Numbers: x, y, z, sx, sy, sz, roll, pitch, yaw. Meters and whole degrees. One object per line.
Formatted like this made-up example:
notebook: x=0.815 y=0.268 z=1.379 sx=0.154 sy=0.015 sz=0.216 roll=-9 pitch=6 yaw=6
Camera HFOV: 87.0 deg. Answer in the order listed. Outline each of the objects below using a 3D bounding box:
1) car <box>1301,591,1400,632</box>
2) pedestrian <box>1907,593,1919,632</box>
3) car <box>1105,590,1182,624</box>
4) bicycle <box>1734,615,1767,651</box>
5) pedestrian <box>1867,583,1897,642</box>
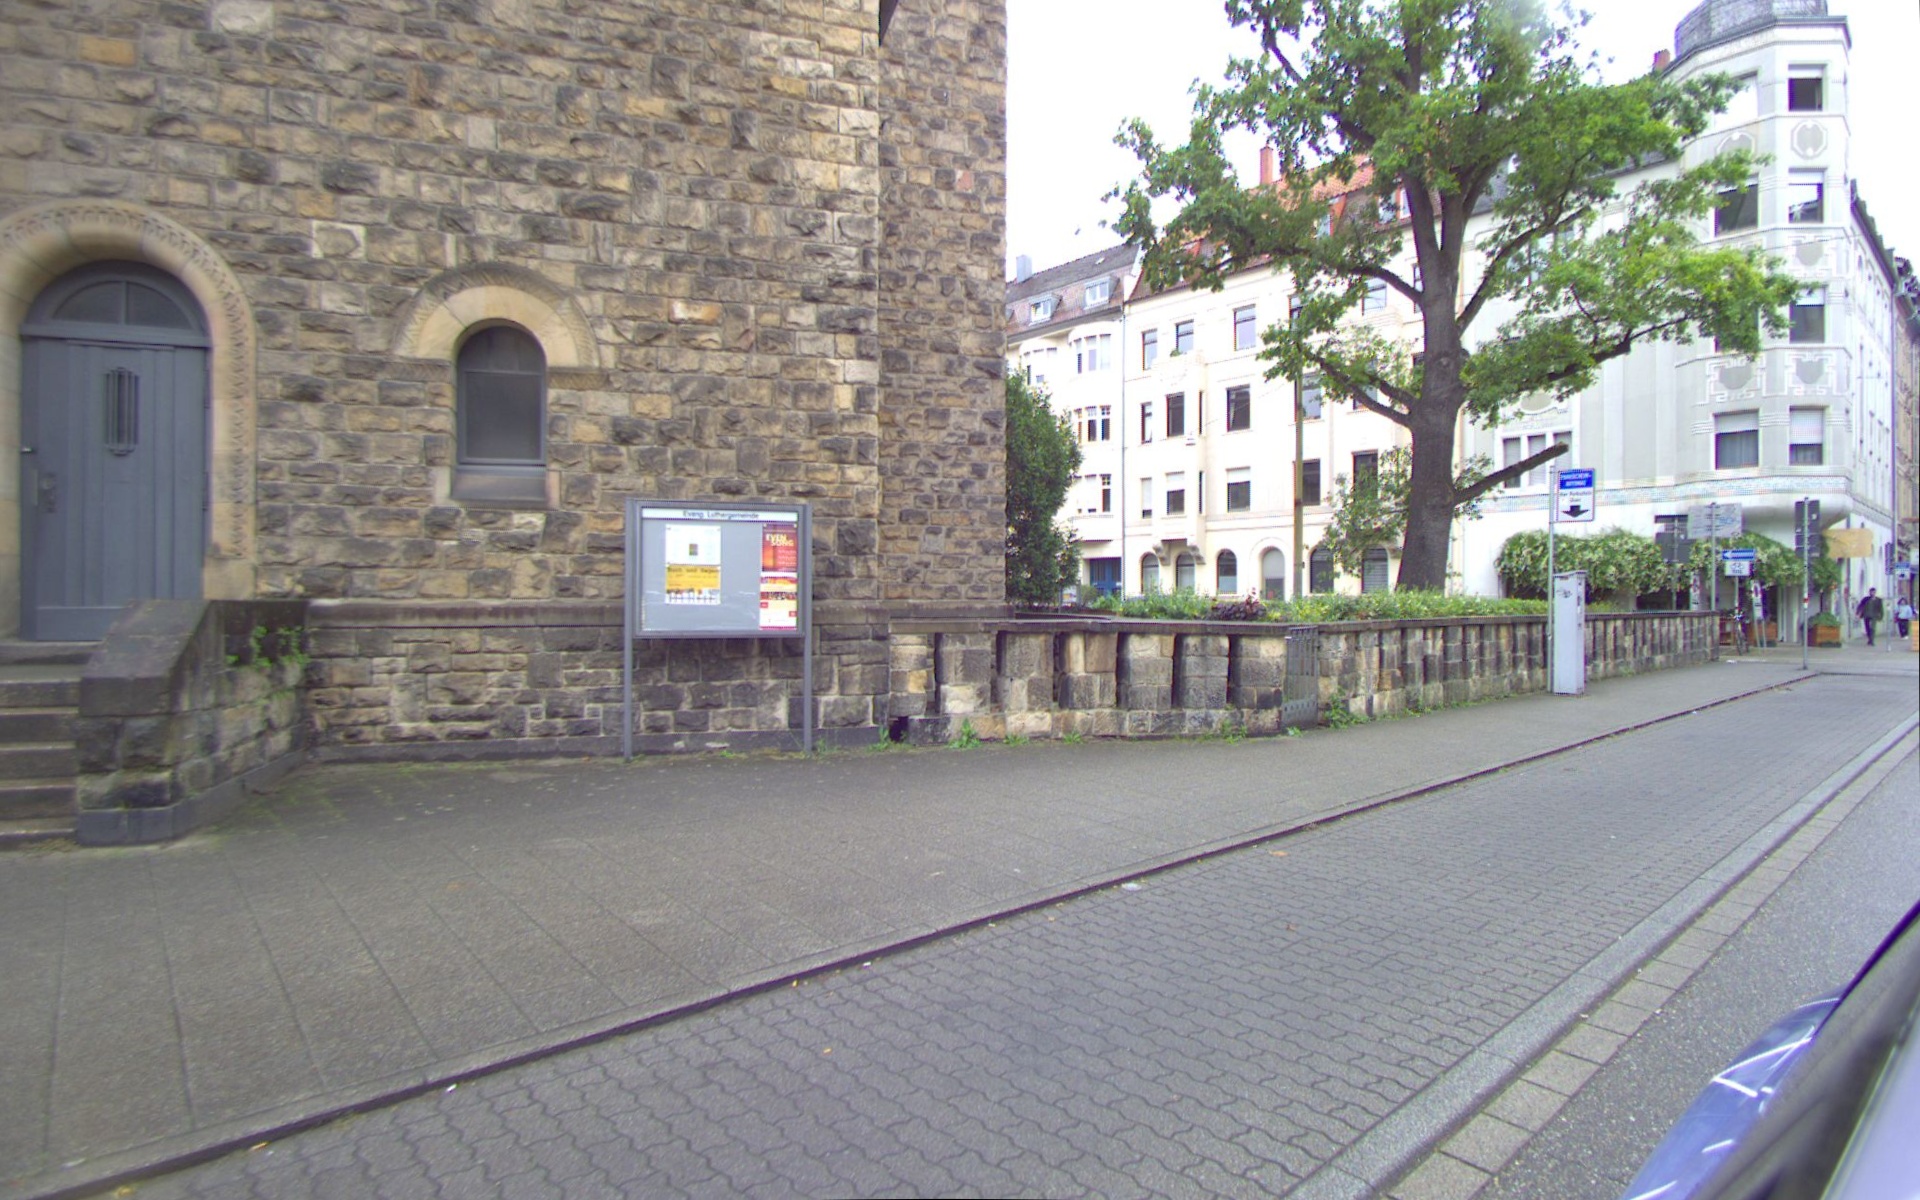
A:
car: x=14.908 y=0.414 z=38.699 sx=1.421 sy=1.427 sz=3.271 roll=0 pitch=1 yaw=-38
pedestrian: x=36.771 y=0.483 z=38.924 sx=0.385 sy=1.479 sz=0.481 roll=1 pitch=0 yaw=-41
car: x=8.253 y=0.310 z=45.689 sx=1.421 sy=1.427 sz=3.271 roll=0 pitch=1 yaw=-38
bicycle: x=22.773 y=0.939 z=29.135 sx=1.990 sy=0.904 sz=0.390 roll=-3 pitch=2 yaw=-42
pedestrian: x=30.178 y=0.402 z=33.131 sx=0.681 sy=1.896 sz=0.645 roll=0 pitch=0 yaw=-41
